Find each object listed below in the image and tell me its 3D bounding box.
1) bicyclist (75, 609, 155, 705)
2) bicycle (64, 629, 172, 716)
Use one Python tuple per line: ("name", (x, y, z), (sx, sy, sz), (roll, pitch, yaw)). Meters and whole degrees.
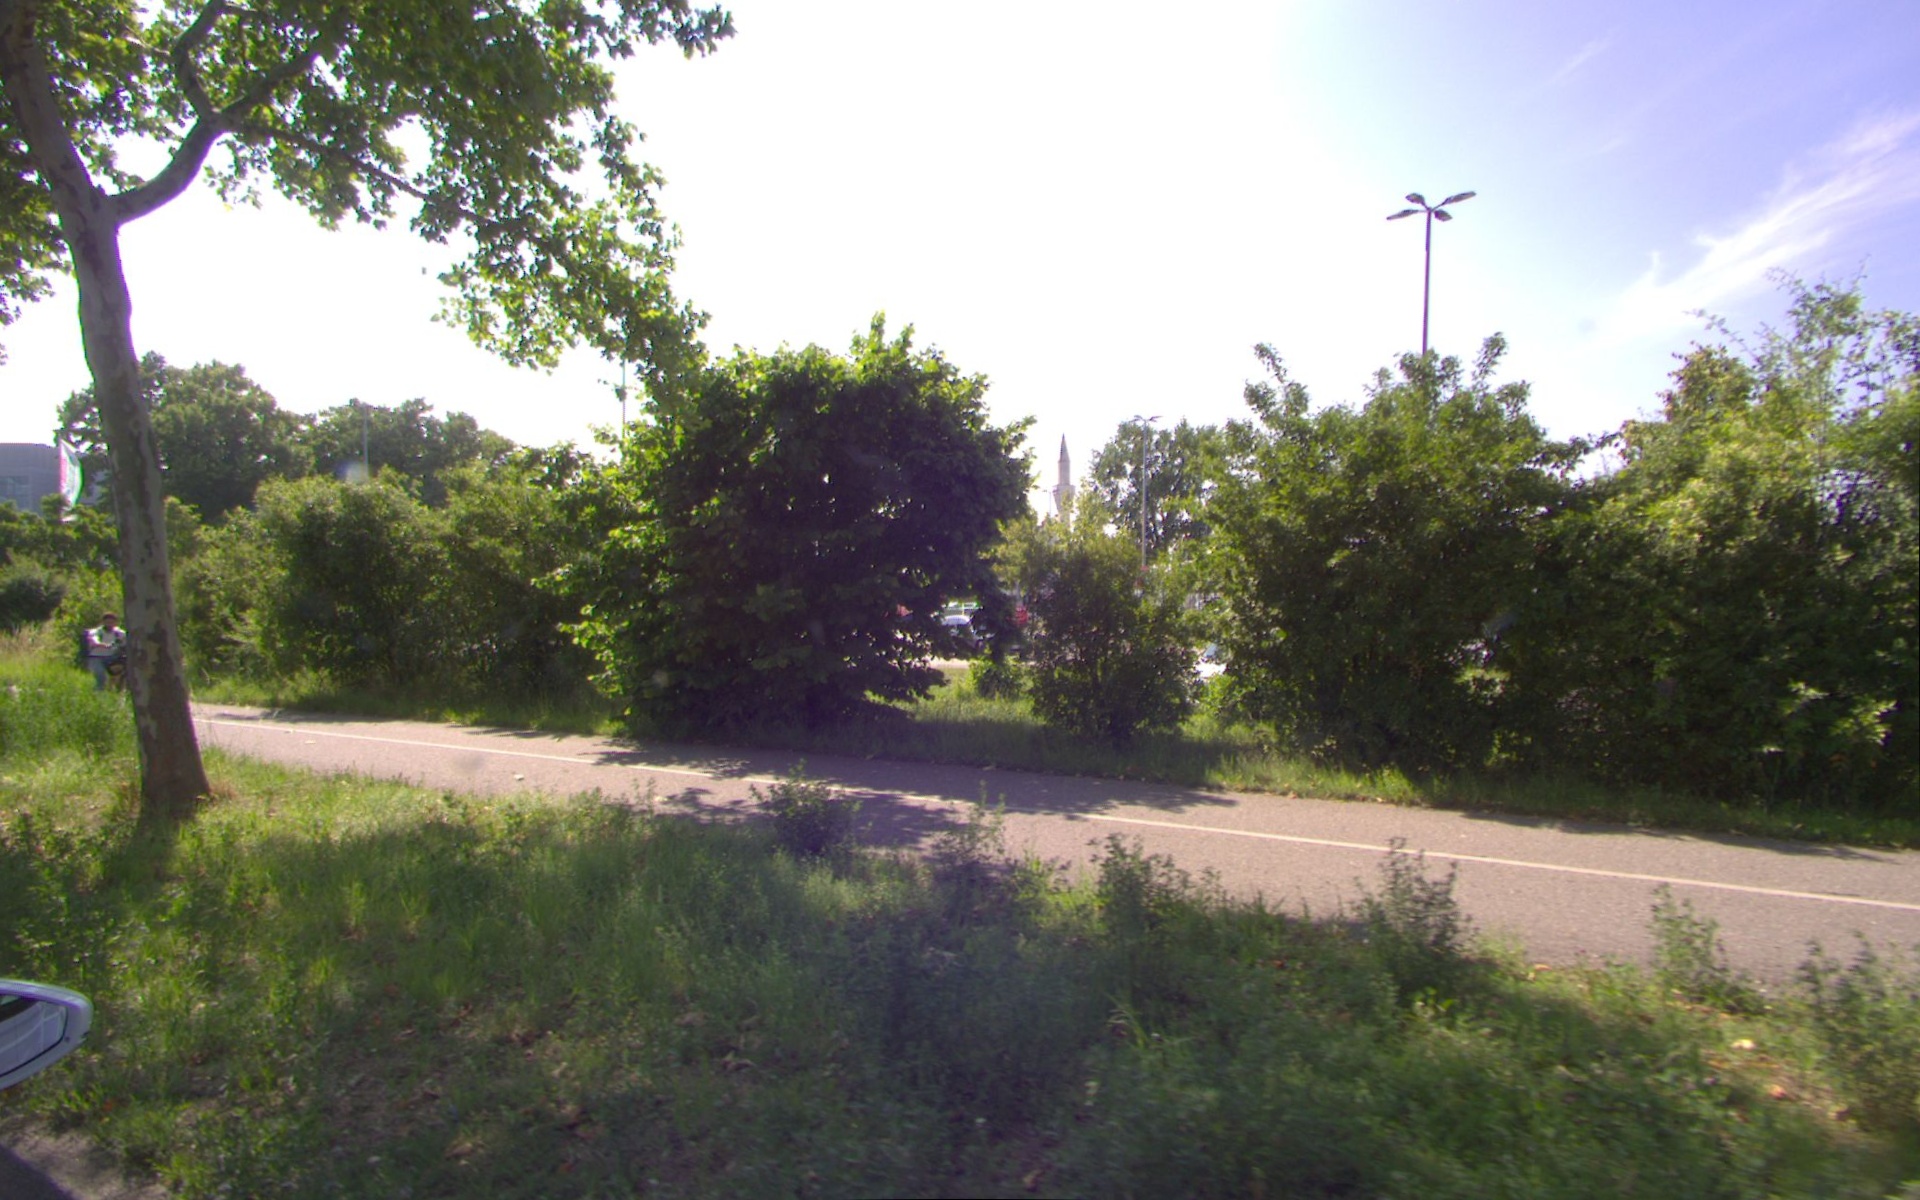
("bicyclist", (-13.600, 0.907, 16.120), (0.995, 1.496, 0.703), (-1, -1, 32))
("bicycle", (-13.489, 1.123, 16.025), (2.066, 1.315, 0.721), (-1, -1, 32))
